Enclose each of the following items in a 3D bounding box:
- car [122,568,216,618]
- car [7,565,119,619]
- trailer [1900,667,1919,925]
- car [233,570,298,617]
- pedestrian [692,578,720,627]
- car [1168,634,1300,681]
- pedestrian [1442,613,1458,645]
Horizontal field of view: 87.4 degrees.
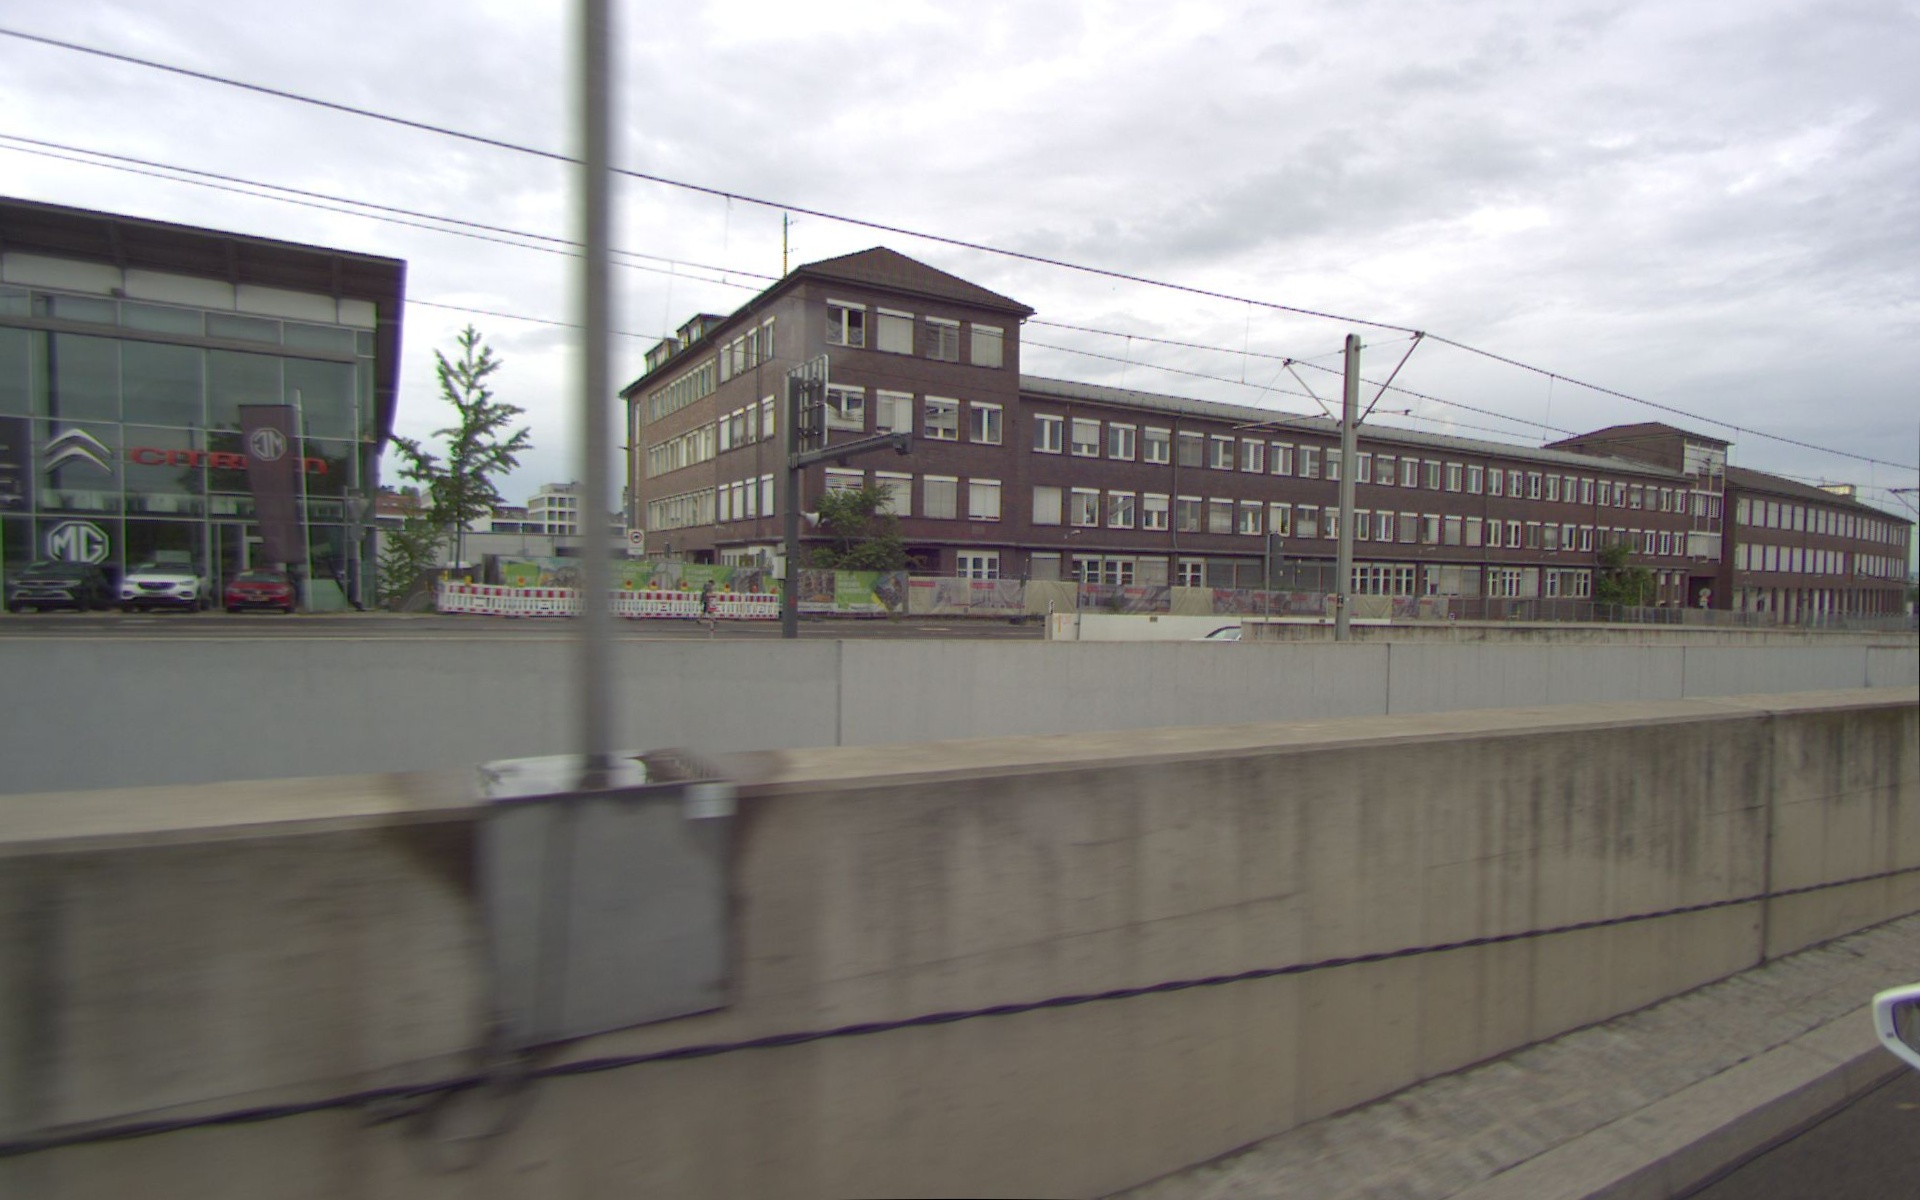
[{"bbox_3d":[-24.298,-0.215,30.972,1.729,1.416,3.464,1,0,-30],"label":"car"},{"bbox_3d":[-26.394,-0.217,29.678,1.729,1.493,3.464,1,0,-30],"label":"car"},{"bbox_3d":[22.311,3.401,19.194,13.027,4.309,2.749,1,-1,-30],"label":"trailer"},{"bbox_3d":[-22.437,-0.182,32.541,1.601,1.400,3.460,1,-1,-33],"label":"car"},{"bbox_3d":[-9.229,0.087,36.484,0.830,1.774,0.612,1,1,-30],"label":"pedestrian"},{"bbox_3d":[10.030,2.050,36.639,4.898,1.536,1.898,1,0,-33],"label":"car"},{"bbox_3d":[31.363,1.855,64.277,0.645,2.040,0.667,1,0,-32],"label":"pedestrian"}]
